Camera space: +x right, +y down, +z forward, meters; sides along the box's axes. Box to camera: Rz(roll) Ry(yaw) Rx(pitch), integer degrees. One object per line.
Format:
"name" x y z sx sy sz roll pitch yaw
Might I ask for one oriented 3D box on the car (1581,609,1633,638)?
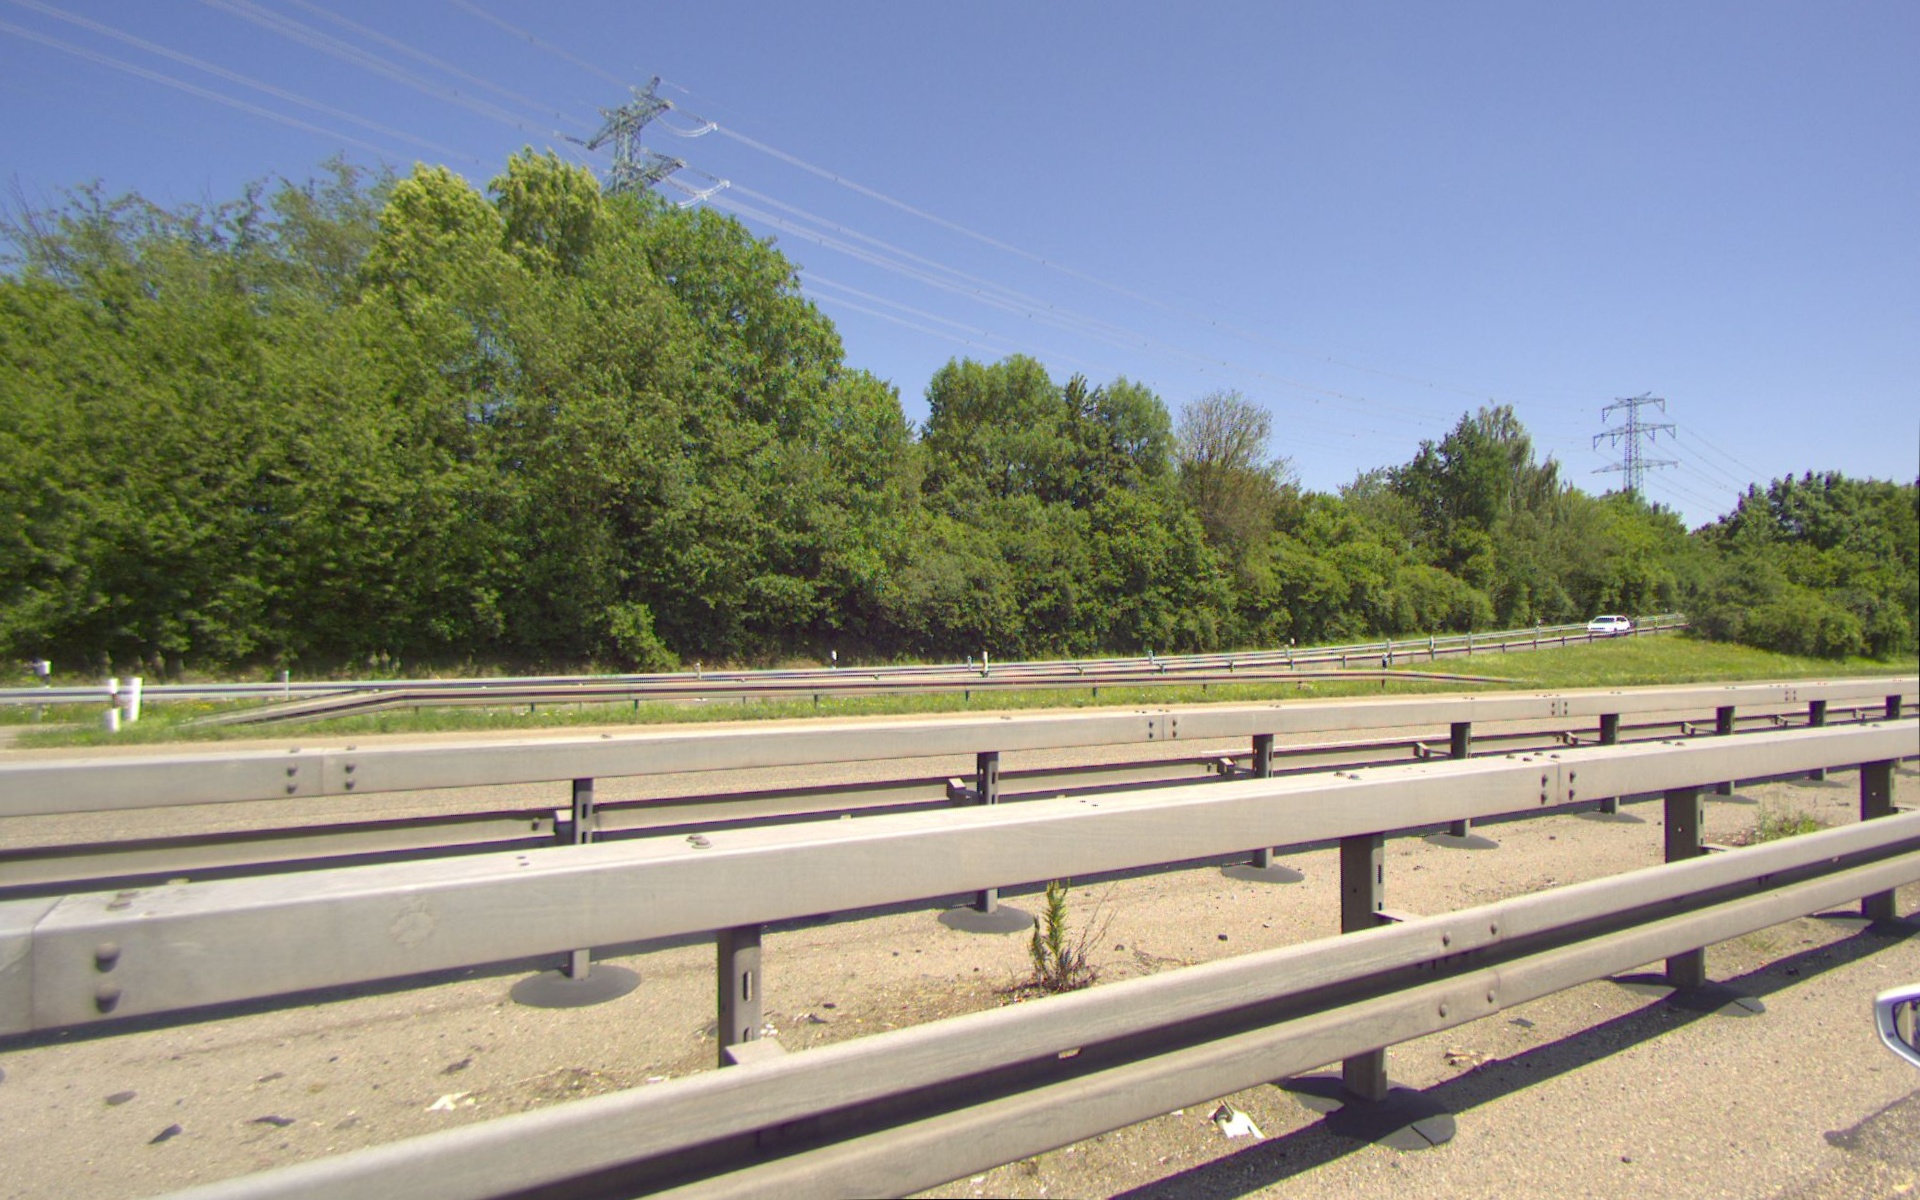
"car" 44.791 1.597 69.509 4.858 1.697 1.621 -3 3 -39
